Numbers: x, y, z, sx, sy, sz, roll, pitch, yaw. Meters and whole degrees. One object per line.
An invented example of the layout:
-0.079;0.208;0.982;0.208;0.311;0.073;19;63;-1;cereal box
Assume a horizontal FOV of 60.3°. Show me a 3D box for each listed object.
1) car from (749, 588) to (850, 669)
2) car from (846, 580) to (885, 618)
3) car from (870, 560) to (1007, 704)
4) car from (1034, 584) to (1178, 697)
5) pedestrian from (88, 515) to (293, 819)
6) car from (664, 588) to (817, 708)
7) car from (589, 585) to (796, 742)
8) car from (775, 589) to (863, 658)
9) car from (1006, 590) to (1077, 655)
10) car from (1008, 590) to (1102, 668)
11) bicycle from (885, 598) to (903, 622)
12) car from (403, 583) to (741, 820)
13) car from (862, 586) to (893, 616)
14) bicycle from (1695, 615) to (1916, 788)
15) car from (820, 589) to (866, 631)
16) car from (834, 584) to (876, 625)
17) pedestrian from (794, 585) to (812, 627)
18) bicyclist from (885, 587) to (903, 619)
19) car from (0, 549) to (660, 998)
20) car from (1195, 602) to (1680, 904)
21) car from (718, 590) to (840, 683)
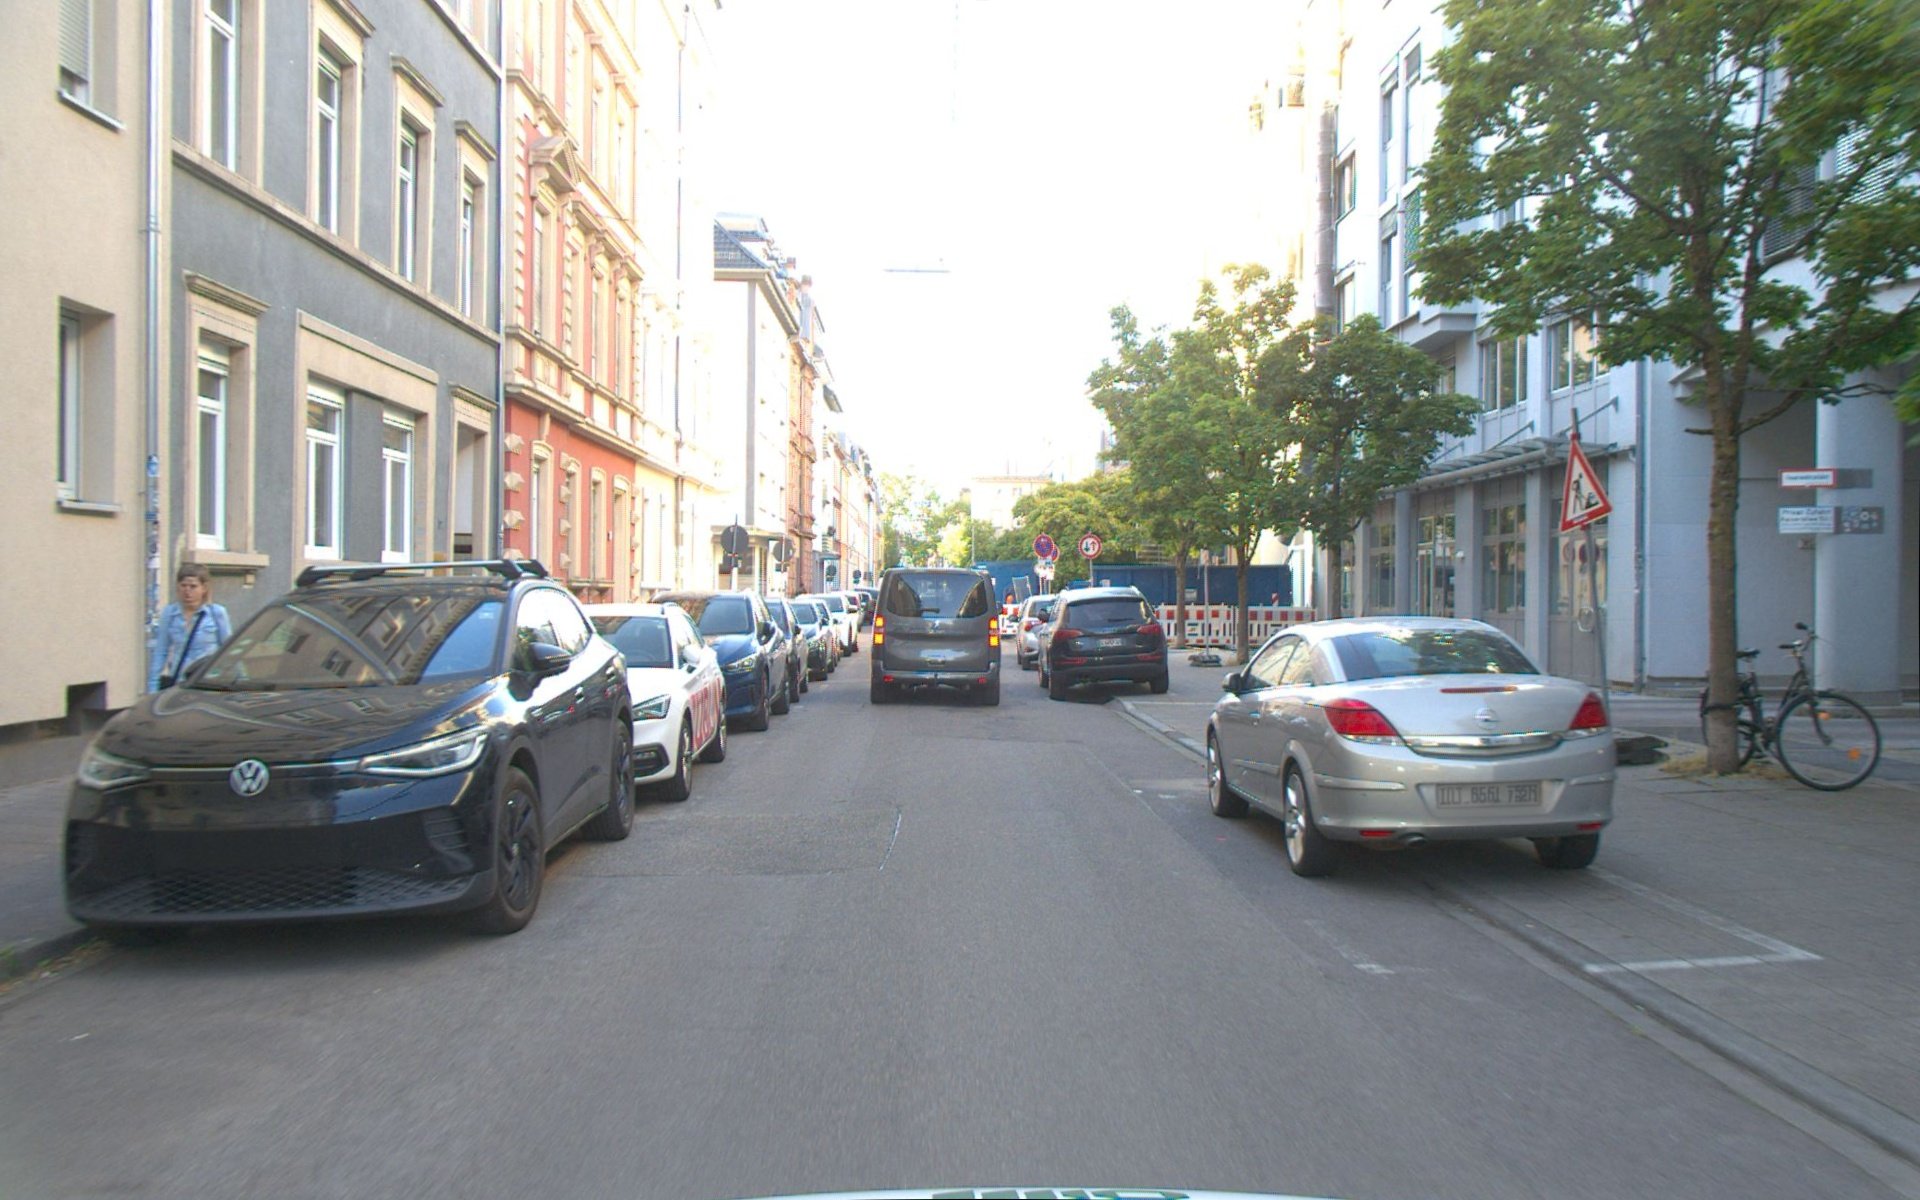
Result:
-3.423;0.569;36.013;1.882;1.587;4.265;-2;1;-2;car
-5.163;-0.048;89.910;1.855;1.878;4.344;5;-1;-5;car
-0.332;0.446;24.517;1.827;1.919;4.234;1;0;-1;car
2.279;0.599;26.947;1.847;1.651;4.433;-1;0;-1;car
-4.885;0.403;10.574;0.773;1.821;1.092;-1;0;-1;pedestrian
-3.235;0.644;25.121;1.863;1.587;4.239;-2;1;-2;car
-3.060;0.657;19.780;1.882;1.587;4.265;-2;1;-2;car
-3.466;0.542;41.415;1.882;1.533;4.266;-2;1;-1;car
1.967;0.528;40.861;1.642;1.501;3.730;-1;0;2;car
2.018;0.592;36.126;1.643;1.551;3.968;-1;0;-2;car
-3.091;0.464;77.466;0.718;1.045;2.115;2;0;0;bicycle
-2.982;0.683;13.677;1.882;1.587;4.265;-2;1;-2;car
-5.764;0.099;115.178;1.855;1.878;4.344;5;-1;-5;car
6.372;0.723;12.572;0.511;1.189;1.735;-1;0;-11;bicycle
-4.587;0.386;64.482;1.624;1.485;3.414;5;-1;-5;car
-5.131;0.223;80.539;1.855;1.749;3.750;5;-1;-5;car
-6.357;0.230;67.031;0.725;1.693;0.703;0;0;-6;pedestrian
-3.075;0.130;77.178;0.718;1.437;0.940;2;0;0;bicyclist
-2.884;0.651;8.728;1.882;1.692;4.467;-2;1;-2;car
2.711;0.767;10.487;1.728;1.454;4.344;-1;0;-1;car
-3.265;0.608;30.594;1.882;1.509;4.265;-2;1;-2;car
